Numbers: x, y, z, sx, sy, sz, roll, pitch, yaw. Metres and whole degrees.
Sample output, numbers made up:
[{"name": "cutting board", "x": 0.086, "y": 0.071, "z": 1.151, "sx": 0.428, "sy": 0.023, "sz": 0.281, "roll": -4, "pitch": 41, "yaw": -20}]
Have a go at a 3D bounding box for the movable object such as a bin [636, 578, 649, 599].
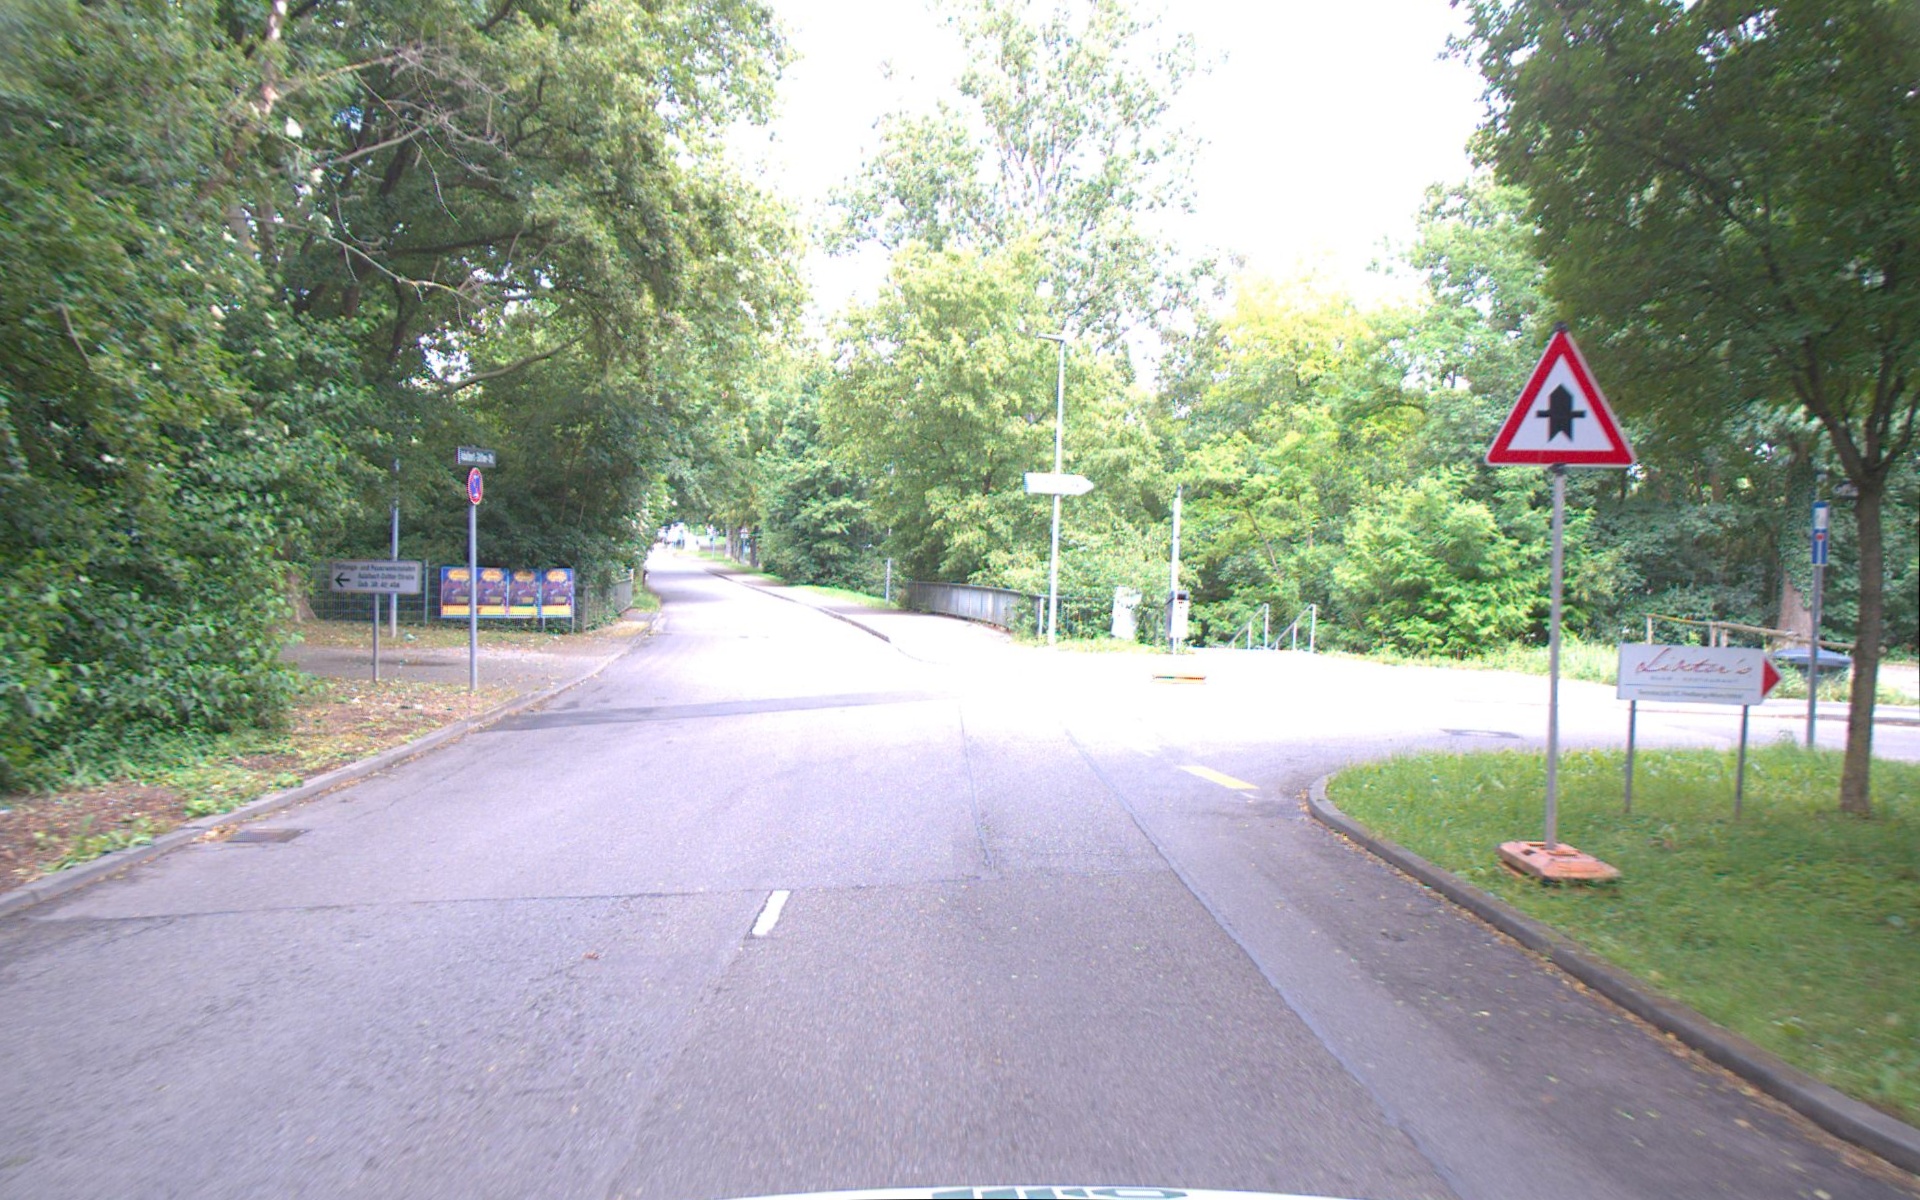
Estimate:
[{"name": "movable object such as a bin", "x": -15.241, "y": -0.560, "z": 79.496, "sx": 0.580, "sy": 0.974, "sz": 0.468, "roll": 2, "pitch": 0, "yaw": -12}]
